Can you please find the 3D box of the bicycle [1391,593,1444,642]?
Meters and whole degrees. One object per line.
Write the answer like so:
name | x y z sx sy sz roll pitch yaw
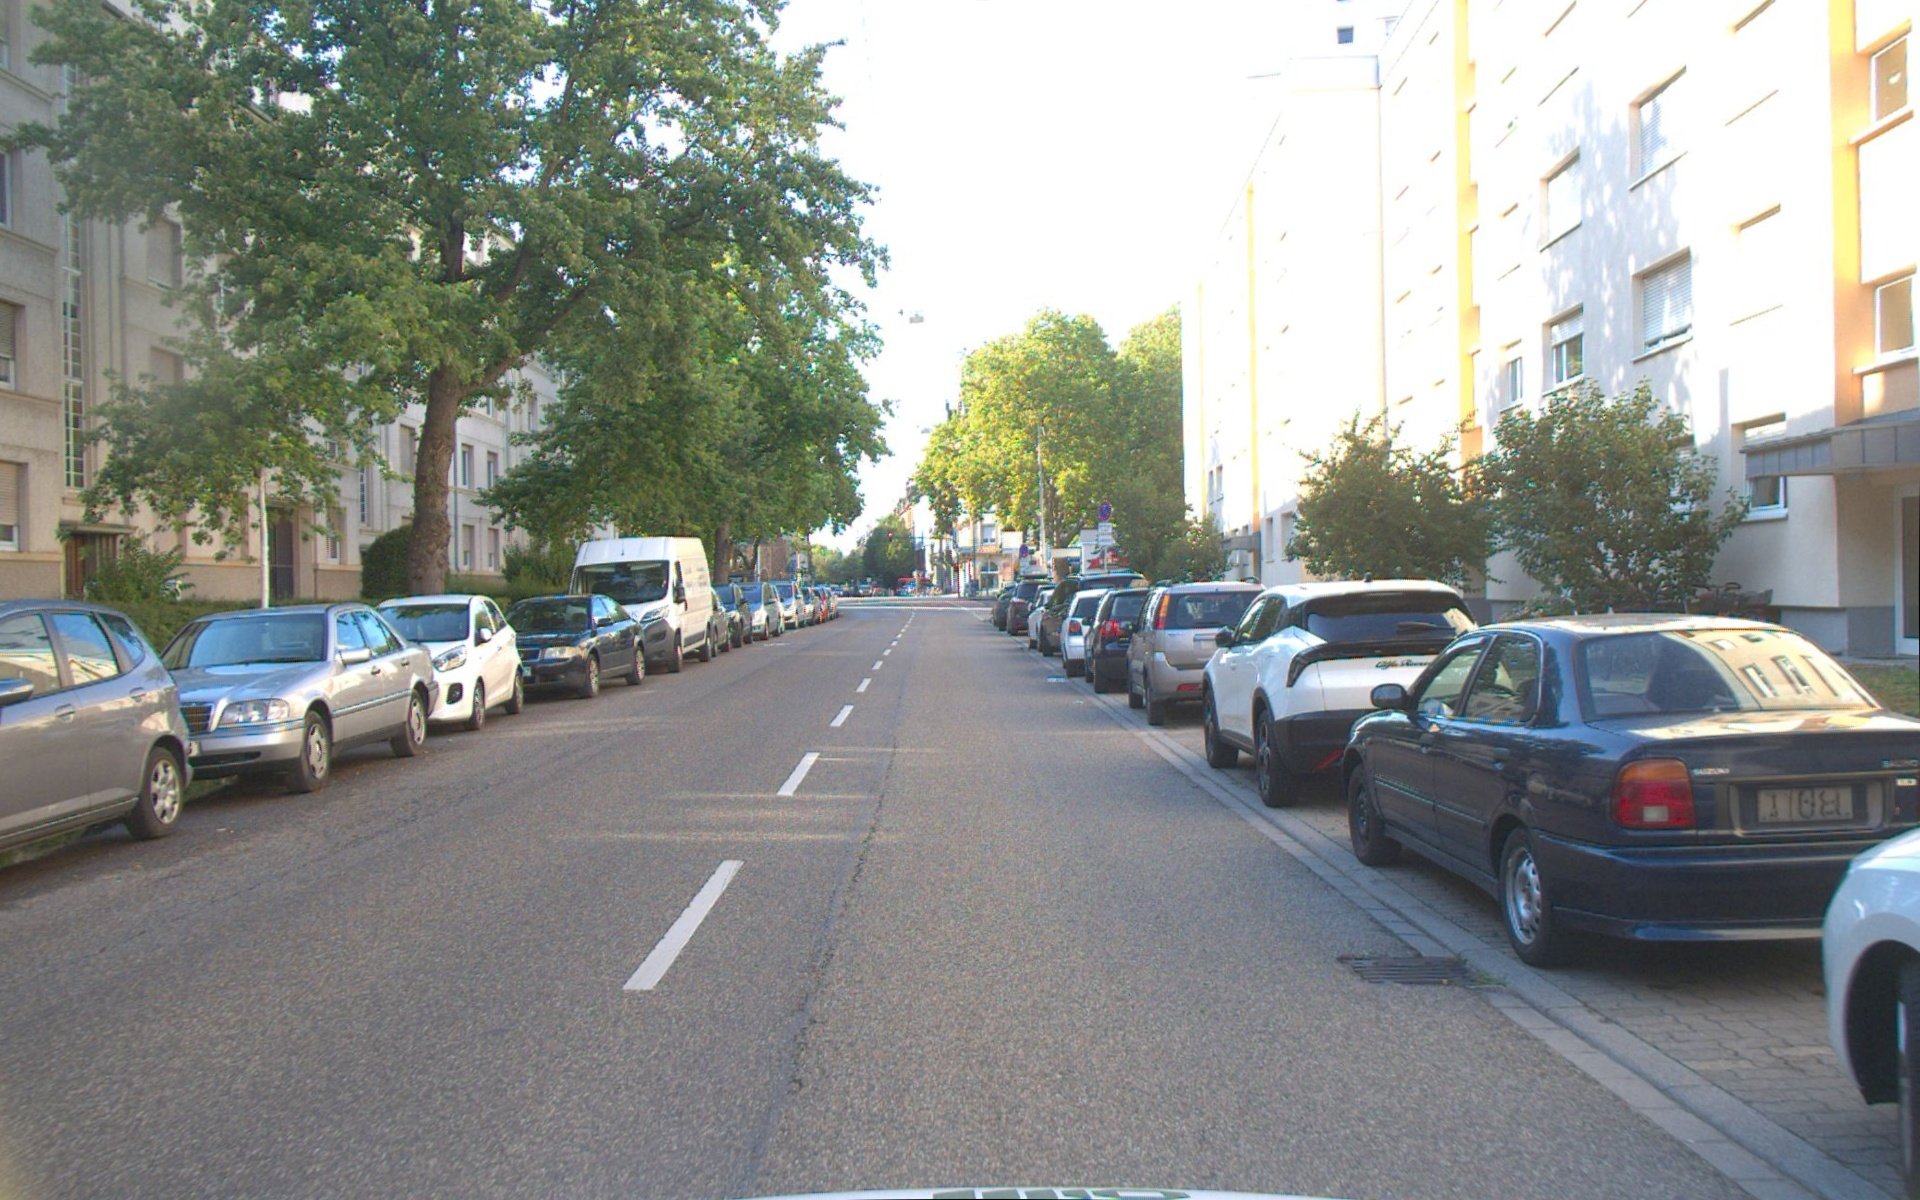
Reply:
bicycle | 11.106 0.408 40.205 0.588 1.100 2.393 -1 2 -1

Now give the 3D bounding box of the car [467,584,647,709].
car | -5.760 0.645 24.071 1.672 1.601 3.818 -2 -1 -1

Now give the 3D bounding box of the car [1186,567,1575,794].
car | 3.024 0.544 12.793 1.836 1.468 3.998 0 -1 -3

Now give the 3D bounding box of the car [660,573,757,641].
car | -6.345 0.198 42.185 1.833 1.585 4.364 2 -1 -1

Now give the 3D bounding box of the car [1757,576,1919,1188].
car | 3.177 0.615 2.652 1.736 1.479 3.999 -4 -1 -1

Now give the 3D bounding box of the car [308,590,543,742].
car | -6.058 0.713 19.108 1.672 1.601 3.260 0 -1 -1

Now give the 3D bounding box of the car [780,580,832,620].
car | -6.406 0.011 69.195 1.833 1.585 3.999 2 -1 -1

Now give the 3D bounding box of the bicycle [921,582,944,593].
bicycle | -3.292 -1.472 198.099 2.751 1.224 0.516 2 -1 -9

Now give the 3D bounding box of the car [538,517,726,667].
car | -6.004 -0.092 31.204 2.310 2.488 6.163 2 -1 -1

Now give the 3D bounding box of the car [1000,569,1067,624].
car | 2.316 -0.130 52.804 1.859 1.680 4.342 0 0 -1

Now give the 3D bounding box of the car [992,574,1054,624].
car | 2.202 -0.006 58.850 1.888 1.688 4.676 2 -1 -1

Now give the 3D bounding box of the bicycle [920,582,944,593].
bicycle | -3.341 -1.493 196.552 2.750 1.224 0.509 2 -1 -8

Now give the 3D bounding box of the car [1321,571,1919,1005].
car | 3.036 0.679 7.837 1.627 1.463 4.312 2 -1 -1

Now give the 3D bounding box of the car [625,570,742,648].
car | -6.095 0.221 36.957 1.917 1.585 4.345 2 -1 -1

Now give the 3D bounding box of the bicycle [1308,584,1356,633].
bicycle | 8.957 0.191 39.939 0.588 1.100 2.393 -1 2 -1

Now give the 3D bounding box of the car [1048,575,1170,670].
car | 2.592 0.402 29.668 1.799 1.528 4.172 2 -1 0

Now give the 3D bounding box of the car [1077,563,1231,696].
car | 2.859 0.440 25.096 1.800 1.803 3.977 2 -1 0

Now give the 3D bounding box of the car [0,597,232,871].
car | -5.780 0.664 9.147 1.836 1.379 3.998 2 -1 -3

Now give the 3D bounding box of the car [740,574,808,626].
car | -6.547 0.023 58.707 1.877 1.707 4.972 2 -1 -1

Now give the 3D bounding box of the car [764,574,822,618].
car | -6.407 -0.114 63.831 1.833 1.585 4.496 2 -1 -1

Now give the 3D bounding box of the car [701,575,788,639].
car | -6.112 0.151 47.459 1.833 1.585 5.056 -5 1 -1

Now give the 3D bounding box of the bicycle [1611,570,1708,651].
bicycle | 10.515 0.161 24.949 0.483 1.132 2.395 -4 -1 3

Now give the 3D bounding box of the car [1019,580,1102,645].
car | 2.408 0.321 40.481 1.645 1.440 4.722 2 -1 -1

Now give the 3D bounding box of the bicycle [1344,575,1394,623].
bicycle | 9.883 -0.037 40.074 0.588 1.100 2.393 -1 2 -1

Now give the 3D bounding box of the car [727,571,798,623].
car | -6.387 -0.063 53.938 1.833 1.585 4.100 2 -1 -1

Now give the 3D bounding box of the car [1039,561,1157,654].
car | 2.829 0.177 34.912 1.983 1.780 4.765 2 -1 -1

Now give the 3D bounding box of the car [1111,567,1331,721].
car | 2.998 0.499 19.905 1.922 1.633 4.278 1 -1 -1

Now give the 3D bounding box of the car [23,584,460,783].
car | -5.828 0.625 14.146 1.836 1.379 4.651 2 -1 -3
